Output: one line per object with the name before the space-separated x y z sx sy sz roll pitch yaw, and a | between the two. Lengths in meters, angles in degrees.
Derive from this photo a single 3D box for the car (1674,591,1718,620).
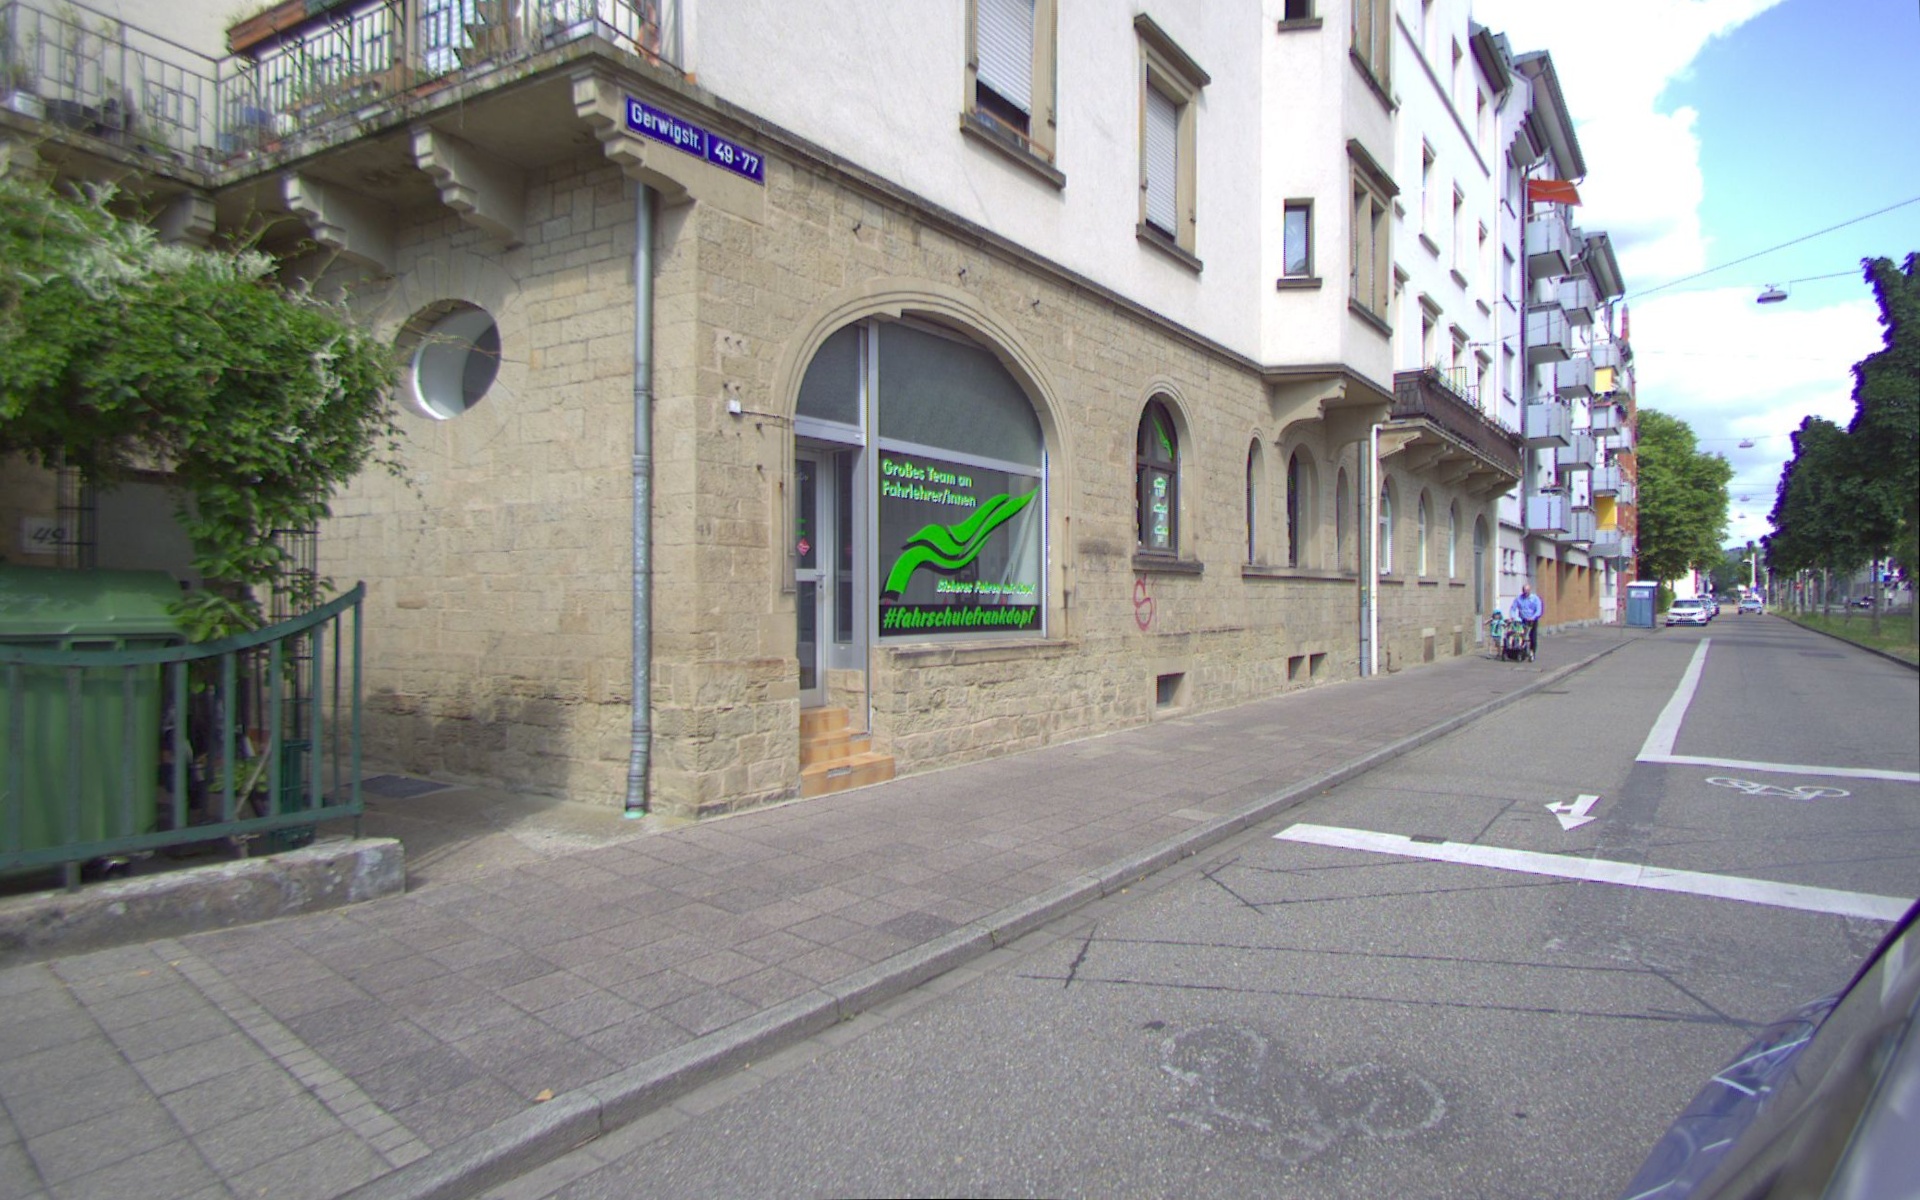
car | 39.932 0.281 54.899 1.792 1.549 3.986 -1 0 38

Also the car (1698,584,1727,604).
car | 62.846 -0.504 84.473 1.792 1.550 3.986 -3 -1 38

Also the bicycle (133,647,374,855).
bicycle | -4.276 0.837 6.081 1.832 1.013 0.506 1 1 31

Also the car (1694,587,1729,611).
car | 49.830 -0.058 67.079 1.792 1.549 3.986 -1 0 38

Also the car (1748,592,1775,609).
car | 73.856 0.017 93.287 1.792 1.549 3.986 -1 0 38

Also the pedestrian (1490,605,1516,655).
pedestrian | 12.681 0.688 23.639 0.455 1.149 0.487 0 0 39

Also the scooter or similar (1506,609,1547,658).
scooter or similar | 12.755 0.737 22.785 0.592 1.014 0.893 5 3 39

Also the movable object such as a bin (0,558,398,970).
movable object such as a bin | -3.785 0.607 4.456 1.049 1.559 2.069 1 1 40

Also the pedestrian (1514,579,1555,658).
pedestrian | 13.281 0.408 23.397 0.620 1.760 0.865 4 2 39

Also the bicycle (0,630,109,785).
bicycle | -6.886 0.752 6.822 0.507 1.013 1.699 1 1 31
